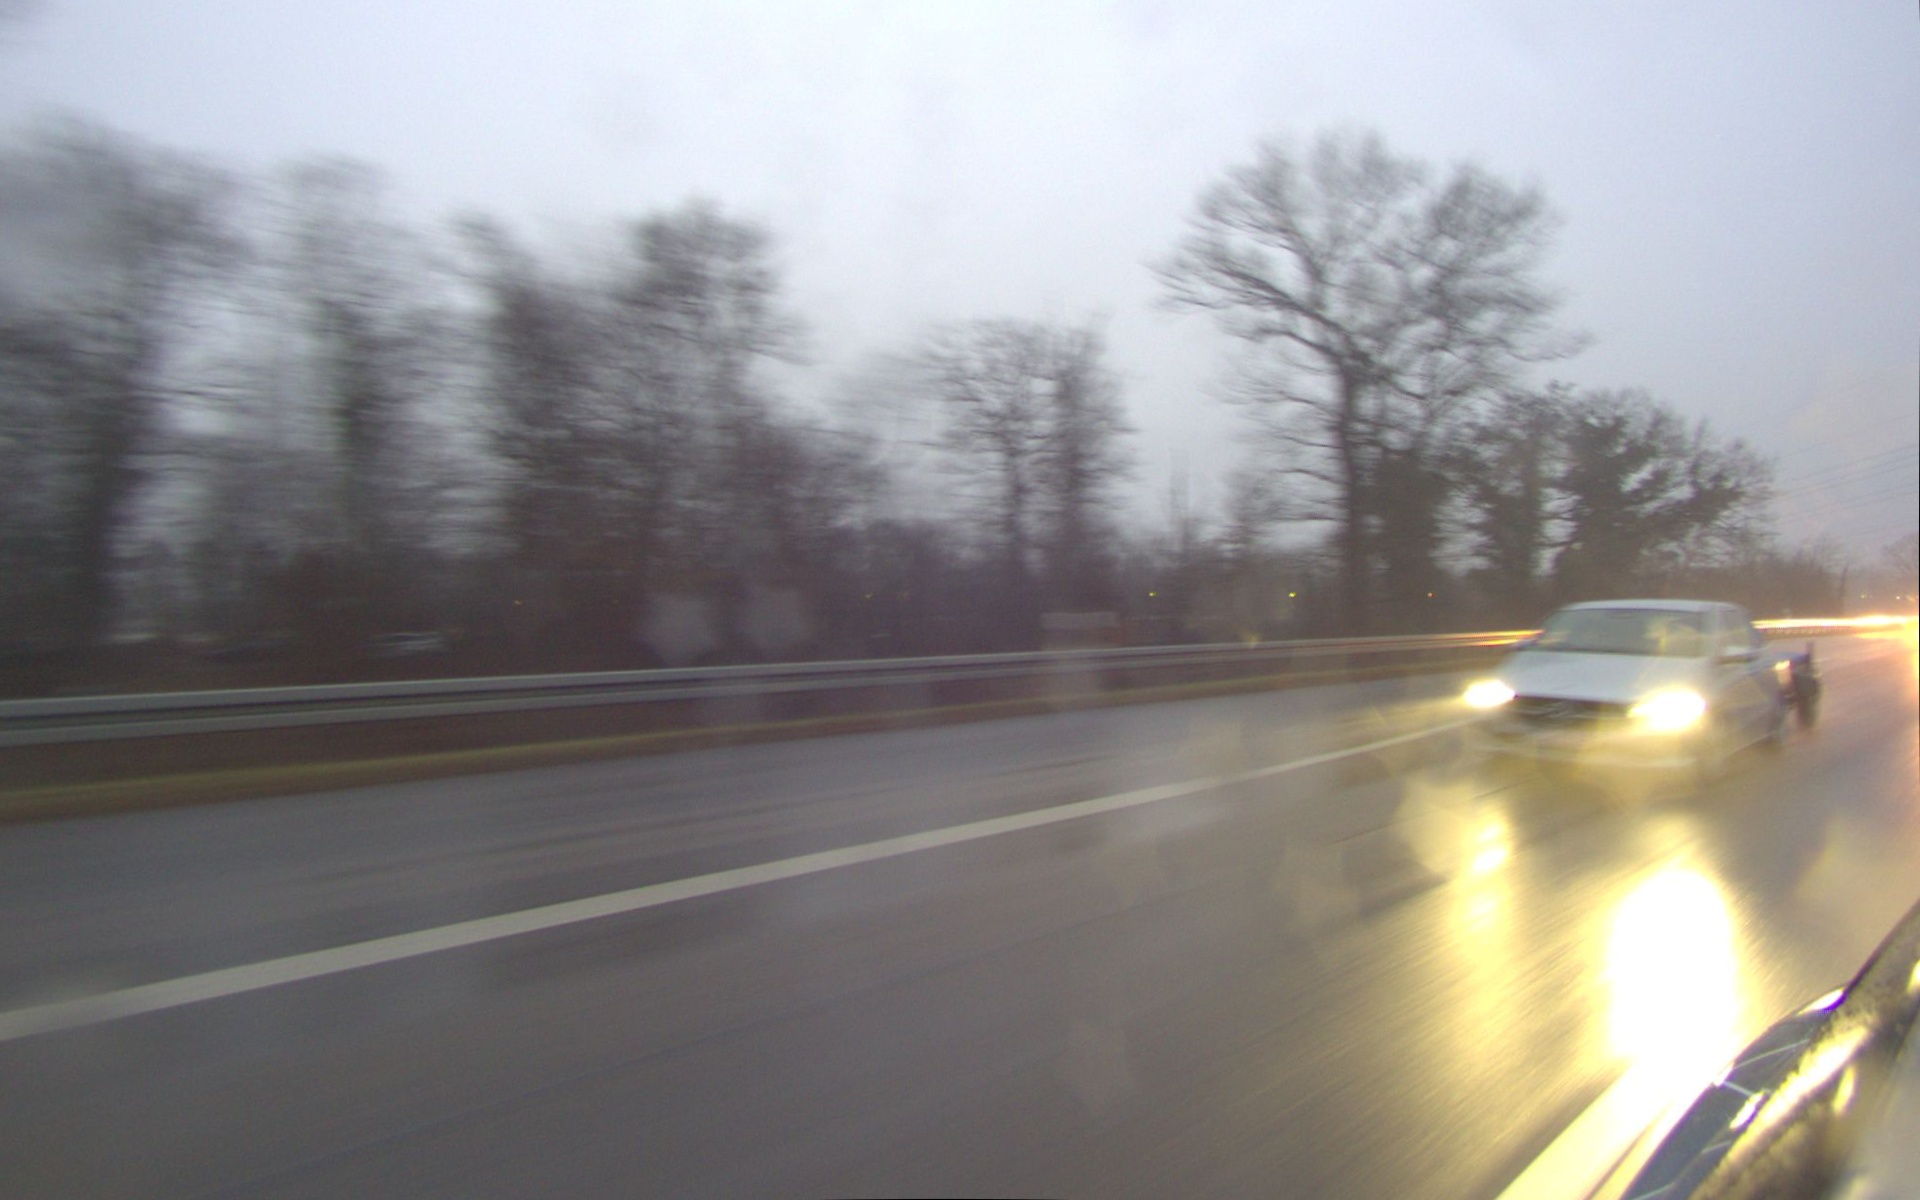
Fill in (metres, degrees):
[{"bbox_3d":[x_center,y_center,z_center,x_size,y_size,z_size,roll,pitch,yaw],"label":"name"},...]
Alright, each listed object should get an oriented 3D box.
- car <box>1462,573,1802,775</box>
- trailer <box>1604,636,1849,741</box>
[{"bbox_3d":[6.480,0.552,9.617,3.745,1.536,1.789,0,0,-41],"label":"car"},{"bbox_3d":[8.994,0.950,11.834,2.899,0.937,1.751,0,0,-41],"label":"trailer"}]
